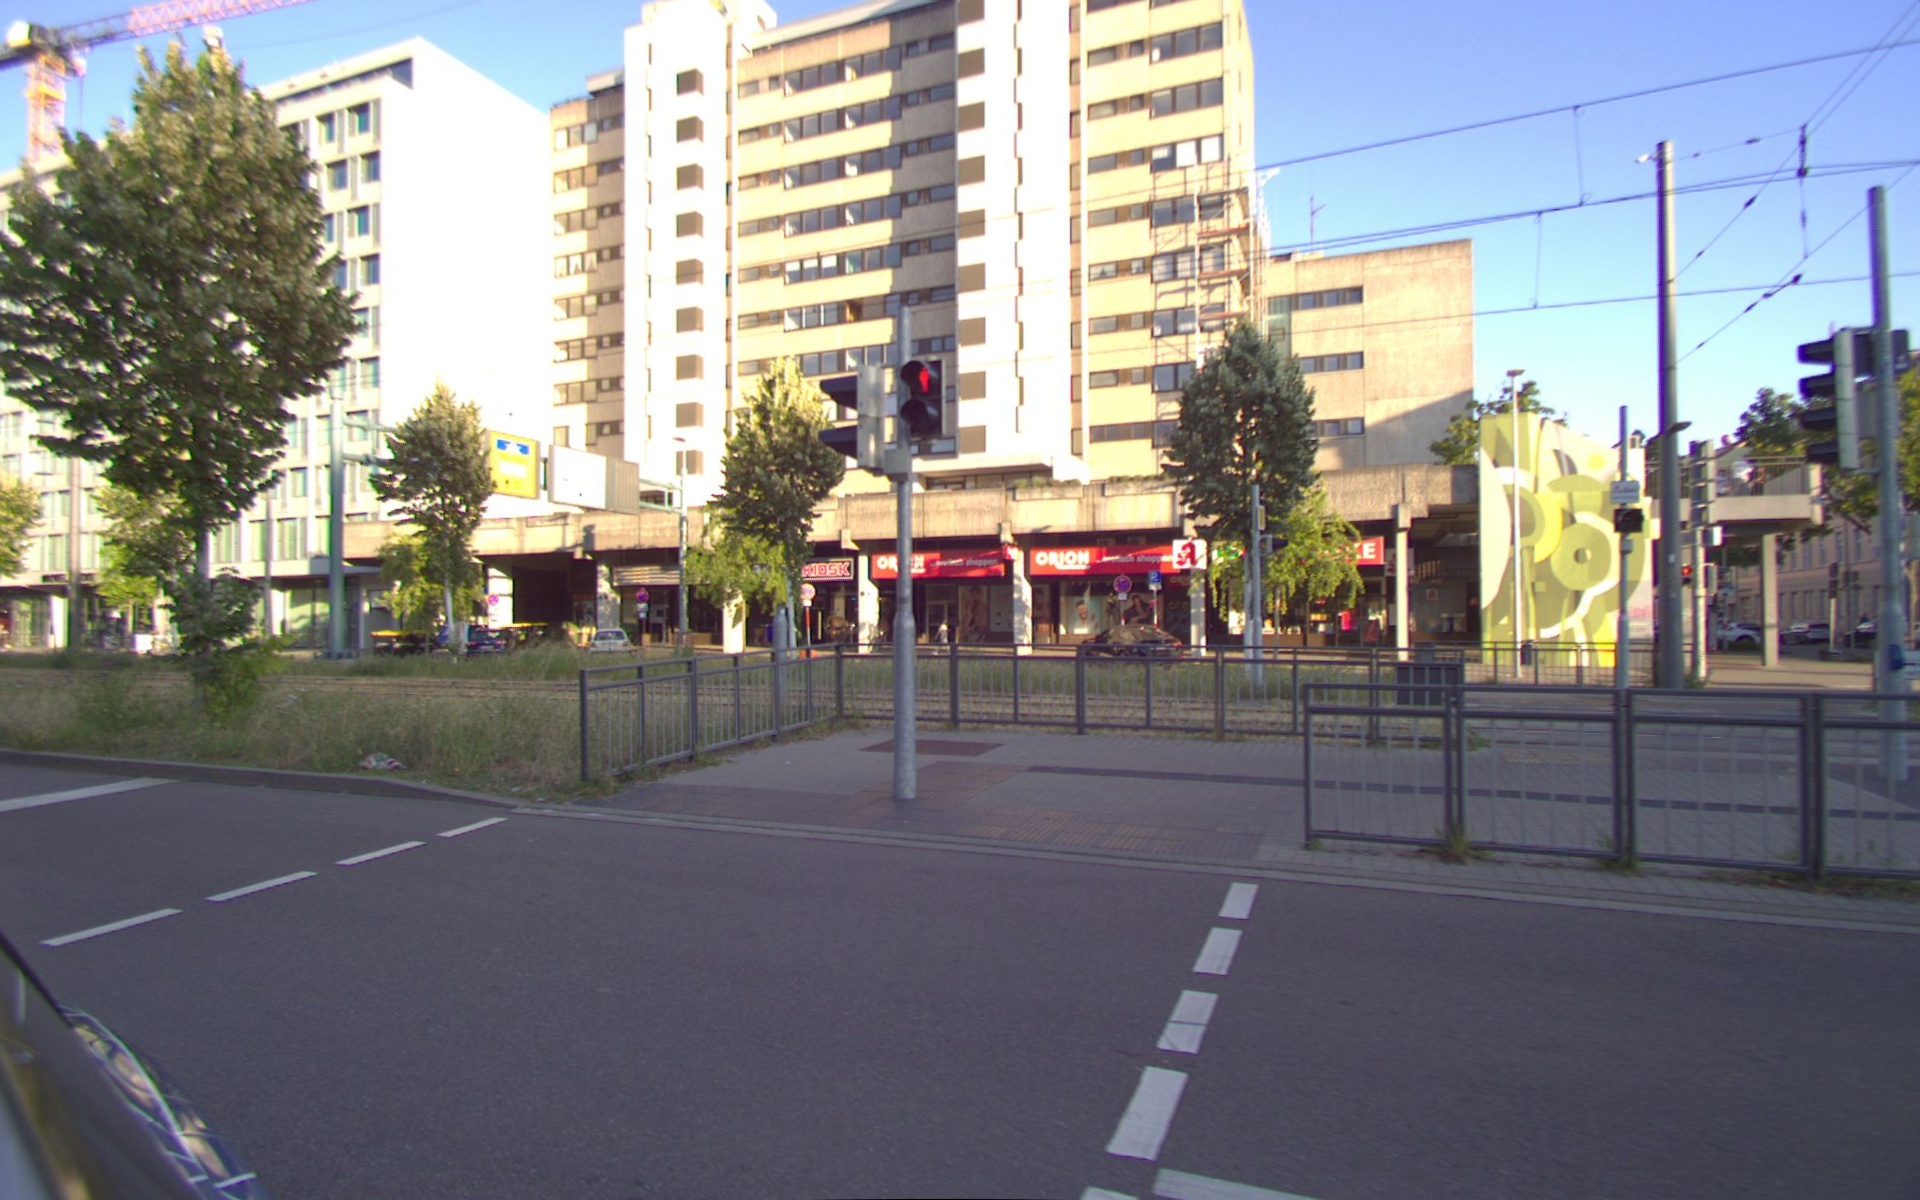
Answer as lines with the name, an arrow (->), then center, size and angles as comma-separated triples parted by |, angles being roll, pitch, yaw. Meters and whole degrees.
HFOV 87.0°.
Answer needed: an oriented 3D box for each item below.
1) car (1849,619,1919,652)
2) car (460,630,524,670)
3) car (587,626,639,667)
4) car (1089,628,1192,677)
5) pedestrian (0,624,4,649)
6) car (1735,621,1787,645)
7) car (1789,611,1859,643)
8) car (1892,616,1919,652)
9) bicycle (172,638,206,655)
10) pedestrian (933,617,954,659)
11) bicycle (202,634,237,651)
car -> 51.356, 1.918, 55.805 | 2.101, 1.769, 4.312 | -1, -1, 21
car -> -20.209, 2.117, 43.831 | 1.975, 1.602, 4.298 | 0, -2, -17
car -> -14.238, 1.864, 41.669 | 1.794, 1.446, 4.143 | -1, 0, -16
car -> 5.744, 1.641, 32.587 | 1.714, 1.461, 3.741 | 0, -2, -17
pedestrian -> -62.254, 2.366, 65.370 | 0.600, 1.612, 0.494 | -1, 0, 24
car -> 58.716, 2.433, 74.253 | 1.713, 1.530, 3.976 | -3, -5, 21
car -> 54.800, 1.768, 64.261 | 1.975, 1.800, 3.879 | -4, -5, 19
car -> 49.427, 1.705, 50.992 | 2.101, 1.769, 4.312 | -1, -1, 21
bicycle -> -47.327, 2.852, 62.158 | 0.418, 1.028, 1.737 | -1, -2, 18
pedestrian -> -0.666, 1.538, 41.095 | 0.657, 1.674, 0.660 | -1, -2, 25
bicycle -> -44.799, 2.568, 61.225 | 0.418, 1.028, 1.782 | -1, -2, 18
